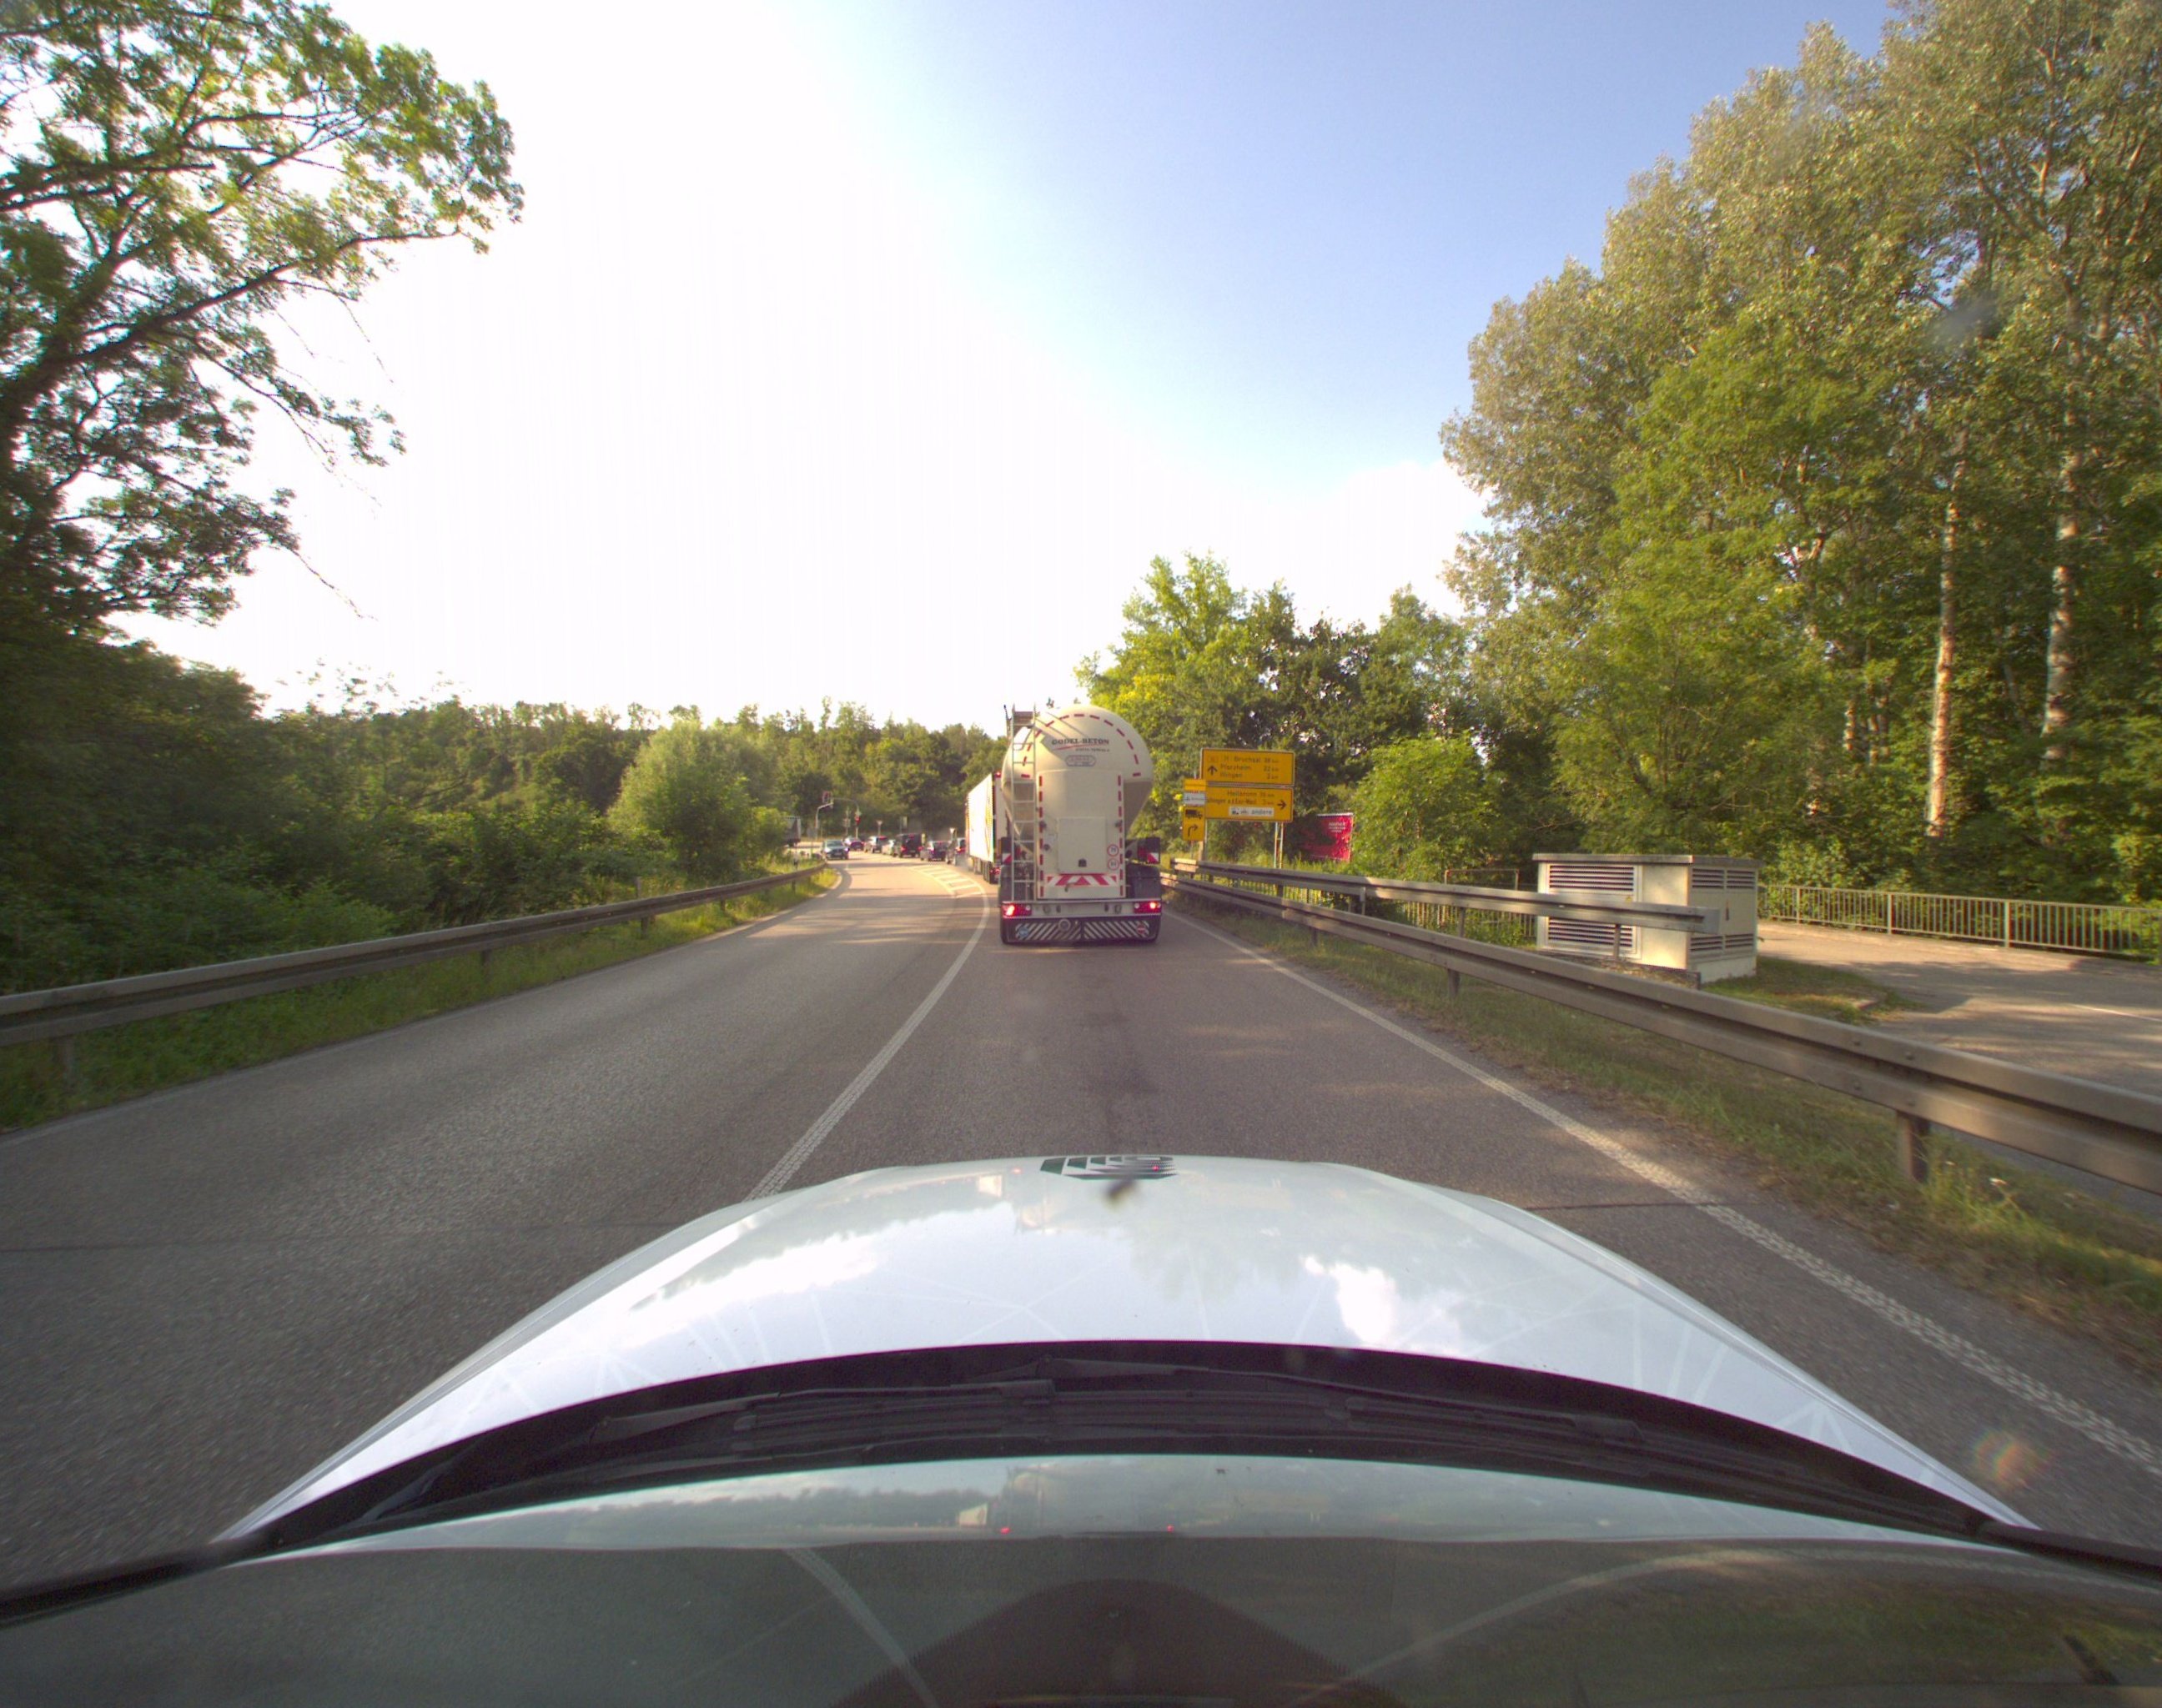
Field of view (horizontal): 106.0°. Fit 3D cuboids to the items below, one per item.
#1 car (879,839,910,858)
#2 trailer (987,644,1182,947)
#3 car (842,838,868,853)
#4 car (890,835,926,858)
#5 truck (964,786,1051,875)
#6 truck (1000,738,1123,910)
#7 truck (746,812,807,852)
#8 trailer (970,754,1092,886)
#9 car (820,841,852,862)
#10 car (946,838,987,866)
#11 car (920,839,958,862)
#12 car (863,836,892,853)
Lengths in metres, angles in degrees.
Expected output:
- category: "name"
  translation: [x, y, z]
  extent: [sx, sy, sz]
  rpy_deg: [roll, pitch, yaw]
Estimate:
- category: "car"
  translation: [-17.204, -0.507, 74.932]
  extent: [1.878, 1.683, 3.965]
  rpy_deg: [1, 1, -27]
- category: "trailer"
  translation: [-0.253, -0.903, 16.884]
  extent: [2.881, 4.454, 9.592]
  rpy_deg: [0, 0, -4]
- category: "car"
  translation: [-24.574, -0.966, 88.320]
  extent: [1.878, 1.565, 3.964]
  rpy_deg: [1, 0, -28]
- category: "car"
  translation: [-14.508, -0.659, 68.112]
  extent: [1.967, 1.851, 3.966]
  rpy_deg: [-2, 2, -26]
- category: "truck"
  translation: [-3.813, -1.076, 40.671]
  extent: [3.454, 4.086, 6.462]
  rpy_deg: [0, 0, -13]
- category: "truck"
  translation: [-0.731, -0.742, 22.298]
  extent: [2.821, 4.034, 5.881]
  rpy_deg: [0, 0, -7]
- category: "truck"
  translation: [-37.633, -2.607, 101.195]
  extent: [2.998, 4.584, 10.253]
  rpy_deg: [2, 0, 4]
- category: "trailer"
  translation: [-2.574, -1.178, 34.561]
  extent: [3.547, 4.513, 12.935]
  rpy_deg: [0, 0, -11]
- category: "car"
  translation: [-19.700, -0.228, 65.454]
  extent: [1.877, 1.564, 3.968]
  rpy_deg: [-2, 1, -25]
- category: "car"
  translation: [-7.188, -0.143, 50.800]
  extent: [1.873, 1.628, 3.976]
  rpy_deg: [1, 0, -18]
- category: "car"
  translation: [-10.403, -0.297, 59.312]
  extent: [1.875, 1.564, 3.970]
  rpy_deg: [-2, 1, -23]
- category: "car"
  translation: [-20.280, -0.915, 81.027]
  extent: [1.877, 1.595, 3.966]
  rpy_deg: [2, 0, -27]
